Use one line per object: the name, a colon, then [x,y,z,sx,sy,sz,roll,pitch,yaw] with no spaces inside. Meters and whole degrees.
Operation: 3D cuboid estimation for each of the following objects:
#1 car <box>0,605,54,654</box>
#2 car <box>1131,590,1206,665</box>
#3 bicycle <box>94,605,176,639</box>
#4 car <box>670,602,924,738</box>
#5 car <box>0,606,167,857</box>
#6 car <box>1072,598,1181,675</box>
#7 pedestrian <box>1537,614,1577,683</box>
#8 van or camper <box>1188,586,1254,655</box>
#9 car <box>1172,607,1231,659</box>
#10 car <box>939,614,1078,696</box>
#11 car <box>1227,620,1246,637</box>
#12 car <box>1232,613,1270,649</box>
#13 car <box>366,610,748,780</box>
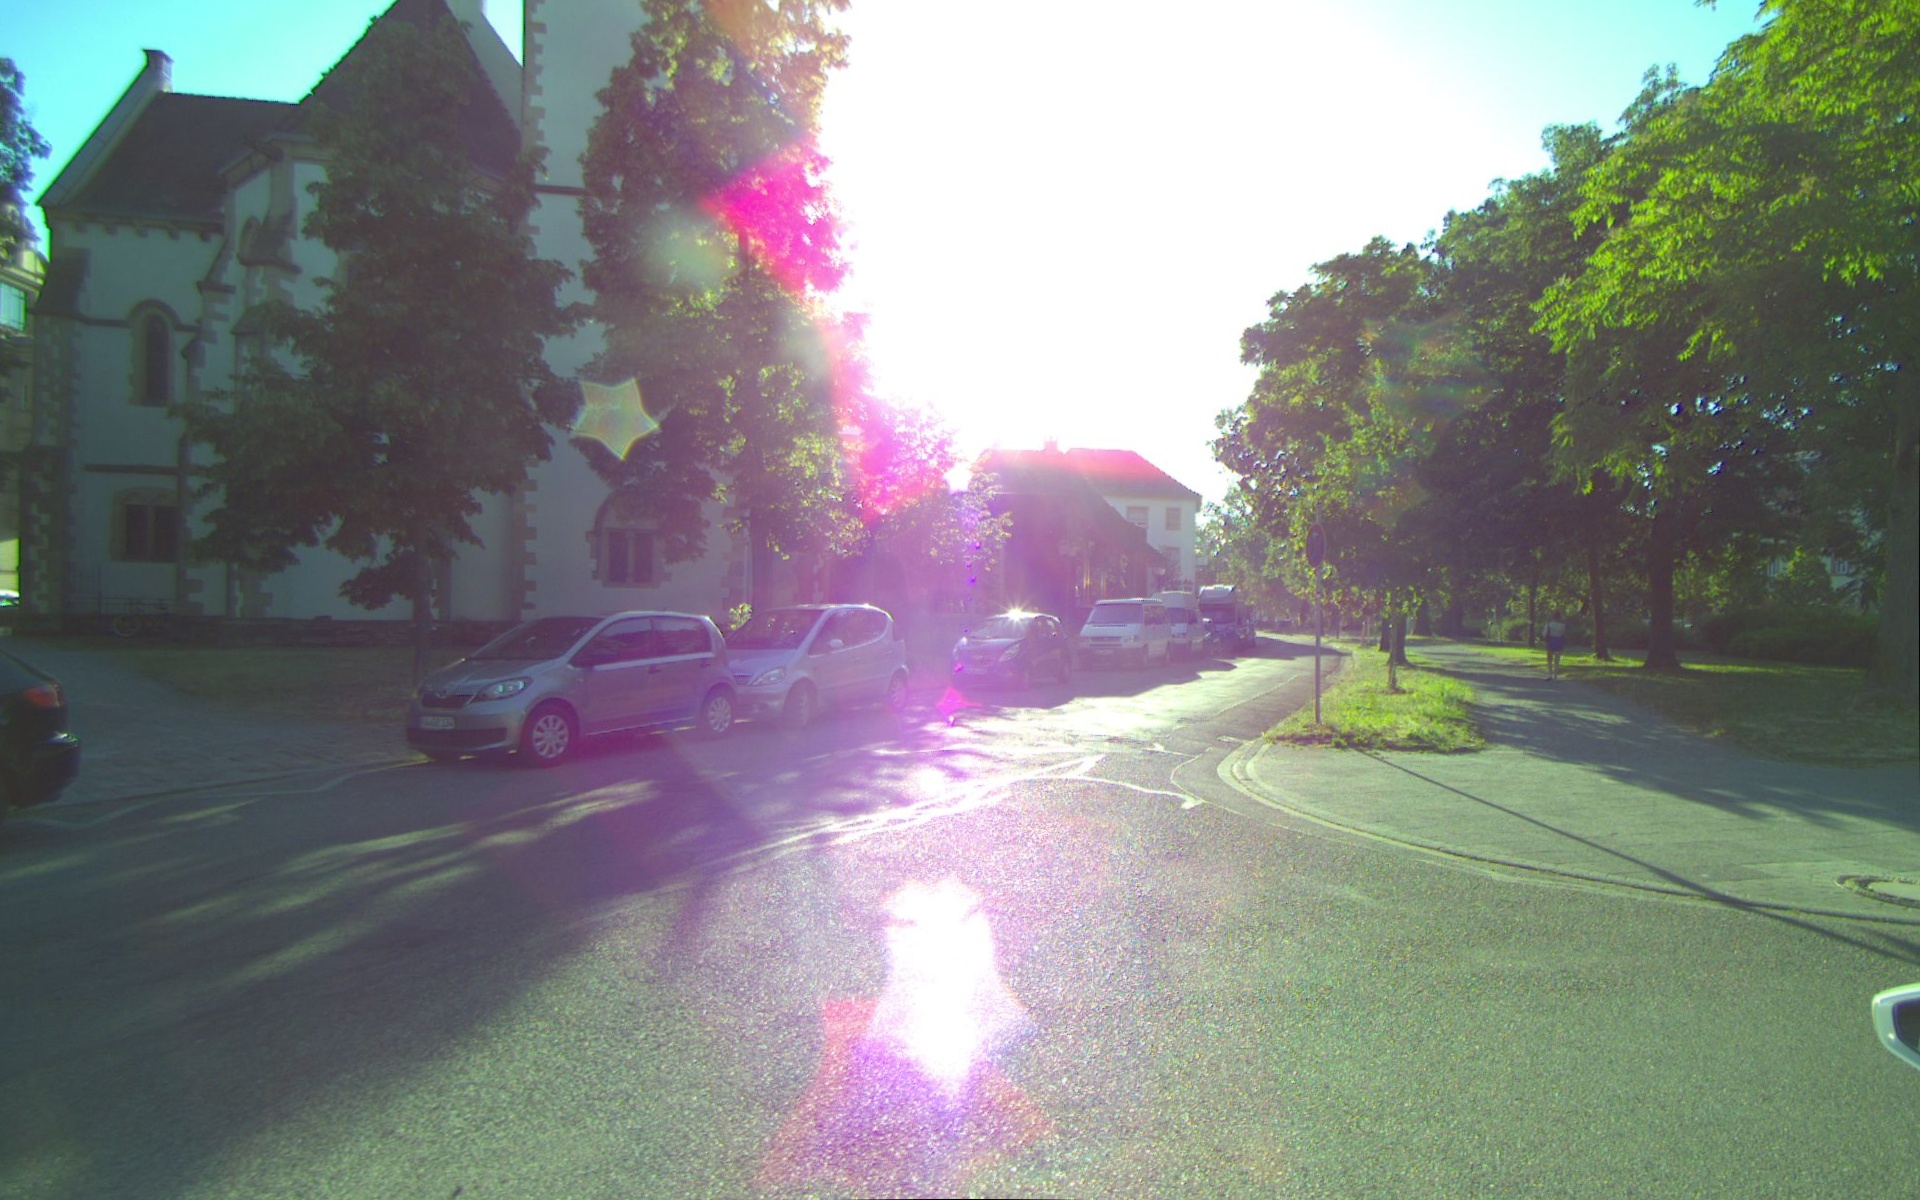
car: [-34.196,1.003,34.829,1.855,1.677,4.218,1,-1,-4]
car: [7.378,0.921,35.125,1.820,2.387,5.186,1,0,20]
bicycle: [-23.466,0.621,28.585,1.849,0.930,0.422,1,0,-8]
car: [-2.103,0.863,13.993,1.678,1.600,3.694,1,-1,25]
car: [-6.927,0.753,4.898,1.797,1.434,4.490,-2,-2,27]
car: [4.885,0.995,28.844,1.822,1.972,4.836,1,-1,25]
pedestrian: [14.086,1.129,23.691,0.763,1.595,0.765,0,-1,35]
van or camper: [12.253,0.926,46.808,2.056,2.946,6.329,1,0,23]
car: [9.750,1.287,40.332,1.820,1.911,4.144,1,0,20]
car: [1.096,1.066,20.912,1.591,1.521,3.694,1,-1,25]
car: [25.045,2.554,90.994,1.485,1.466,3.408,1,0,13]
car: [16.595,1.747,57.166,1.820,1.911,4.144,1,0,20]
car: [-4.013,0.859,10.587,1.588,1.459,3.602,-1,-1,27]
